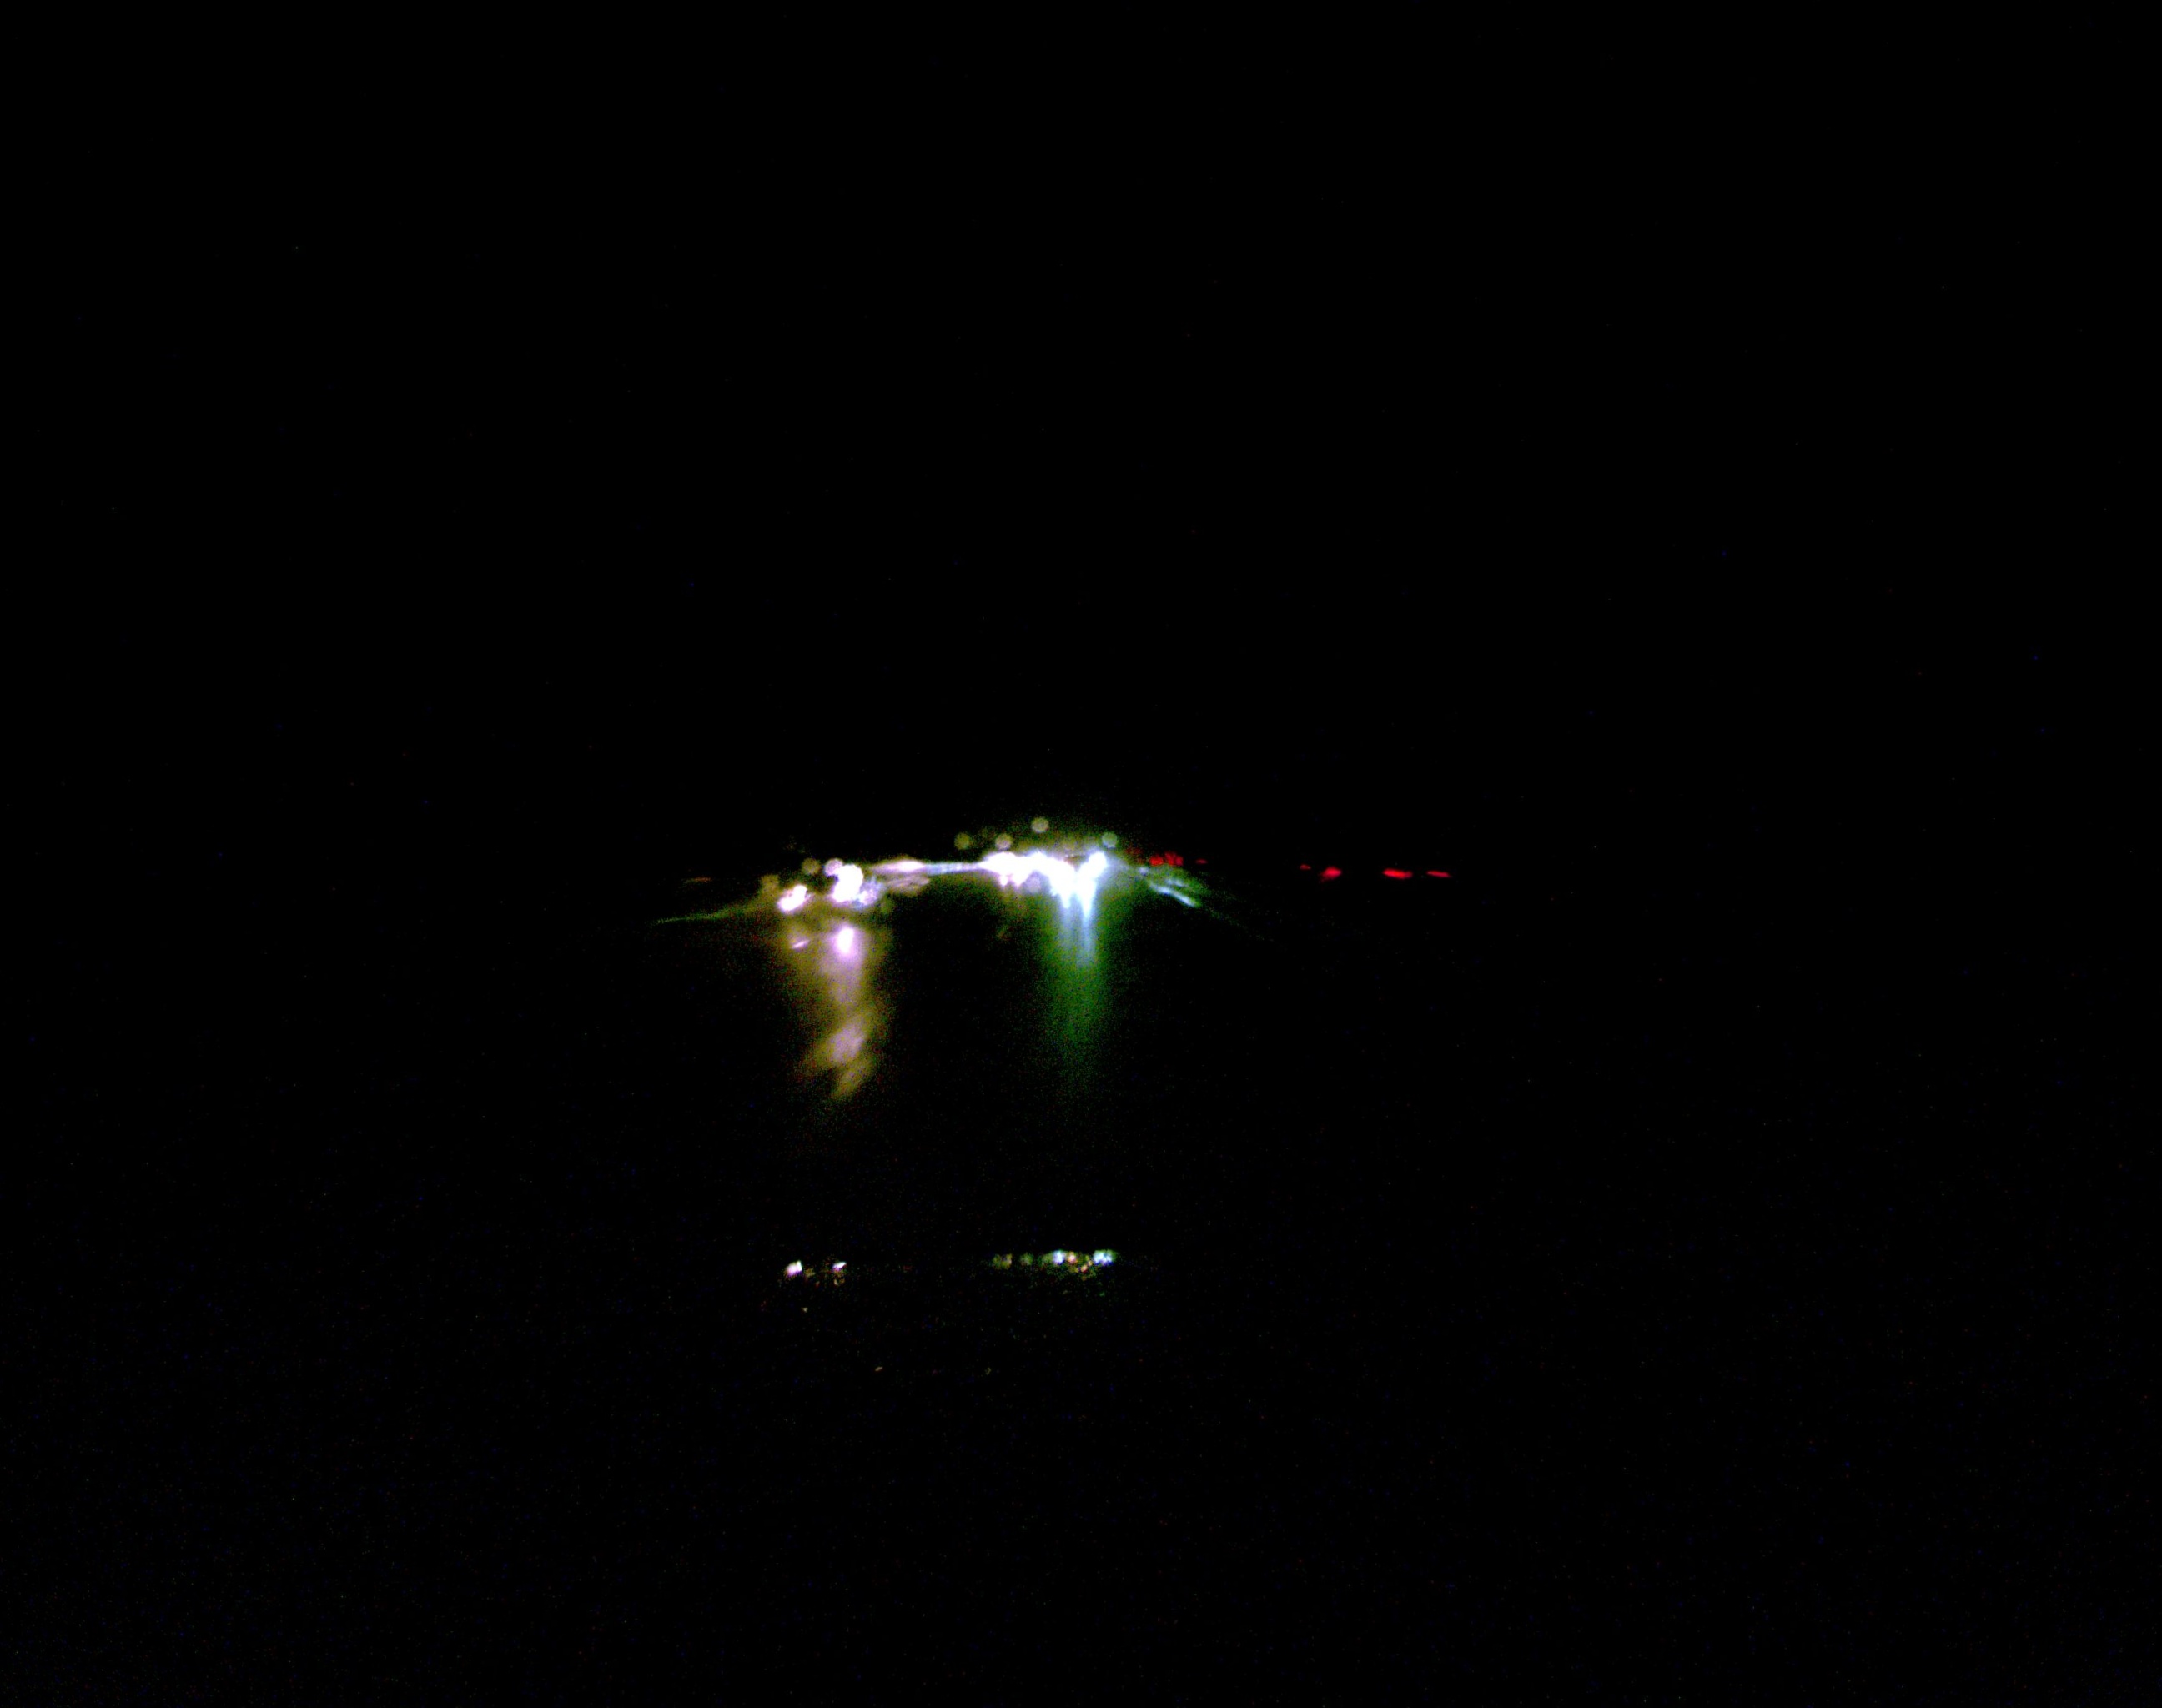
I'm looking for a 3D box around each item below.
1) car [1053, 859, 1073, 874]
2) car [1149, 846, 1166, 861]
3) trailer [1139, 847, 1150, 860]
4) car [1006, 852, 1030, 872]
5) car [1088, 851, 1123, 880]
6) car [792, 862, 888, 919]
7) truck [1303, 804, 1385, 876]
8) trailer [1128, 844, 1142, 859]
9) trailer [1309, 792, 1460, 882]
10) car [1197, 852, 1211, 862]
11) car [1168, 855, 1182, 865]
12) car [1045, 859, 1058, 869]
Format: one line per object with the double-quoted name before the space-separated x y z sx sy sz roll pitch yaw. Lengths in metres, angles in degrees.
"car" -2.182 1.506 93.392 1.882 1.654 4.002 -3 -1 5
"car" 10.483 -0.033 104.882 1.998 2.002 4.451 -1 0 1
"trailer" 22.242 -0.082 266.164 2.697 4.196 15.644 -2 0 1
"car" -6.128 0.816 74.620 1.832 1.835 4.699 -3 -1 1
"car" 1.583 0.723 47.941 1.882 1.654 4.002 -3 -1 5
"car" -7.072 1.022 22.714 1.644 1.494 4.013 -1 0 -1
"truck" 17.406 -0.924 50.817 2.980 4.243 6.504 -5 0 1
"trailer" 16.938 -0.684 238.948 2.698 4.352 14.629 -2 0 -1
"trailer" 17.331 -0.886 45.290 2.980 4.243 14.862 -5 0 1
"car" 22.954 0.544 141.652 1.998 1.704 4.246 0 0 1
"car" 16.648 0.983 134.570 1.998 1.749 4.591 0 0 1
"car" -5.214 1.751 134.431 1.882 1.654 4.002 -3 -1 5
